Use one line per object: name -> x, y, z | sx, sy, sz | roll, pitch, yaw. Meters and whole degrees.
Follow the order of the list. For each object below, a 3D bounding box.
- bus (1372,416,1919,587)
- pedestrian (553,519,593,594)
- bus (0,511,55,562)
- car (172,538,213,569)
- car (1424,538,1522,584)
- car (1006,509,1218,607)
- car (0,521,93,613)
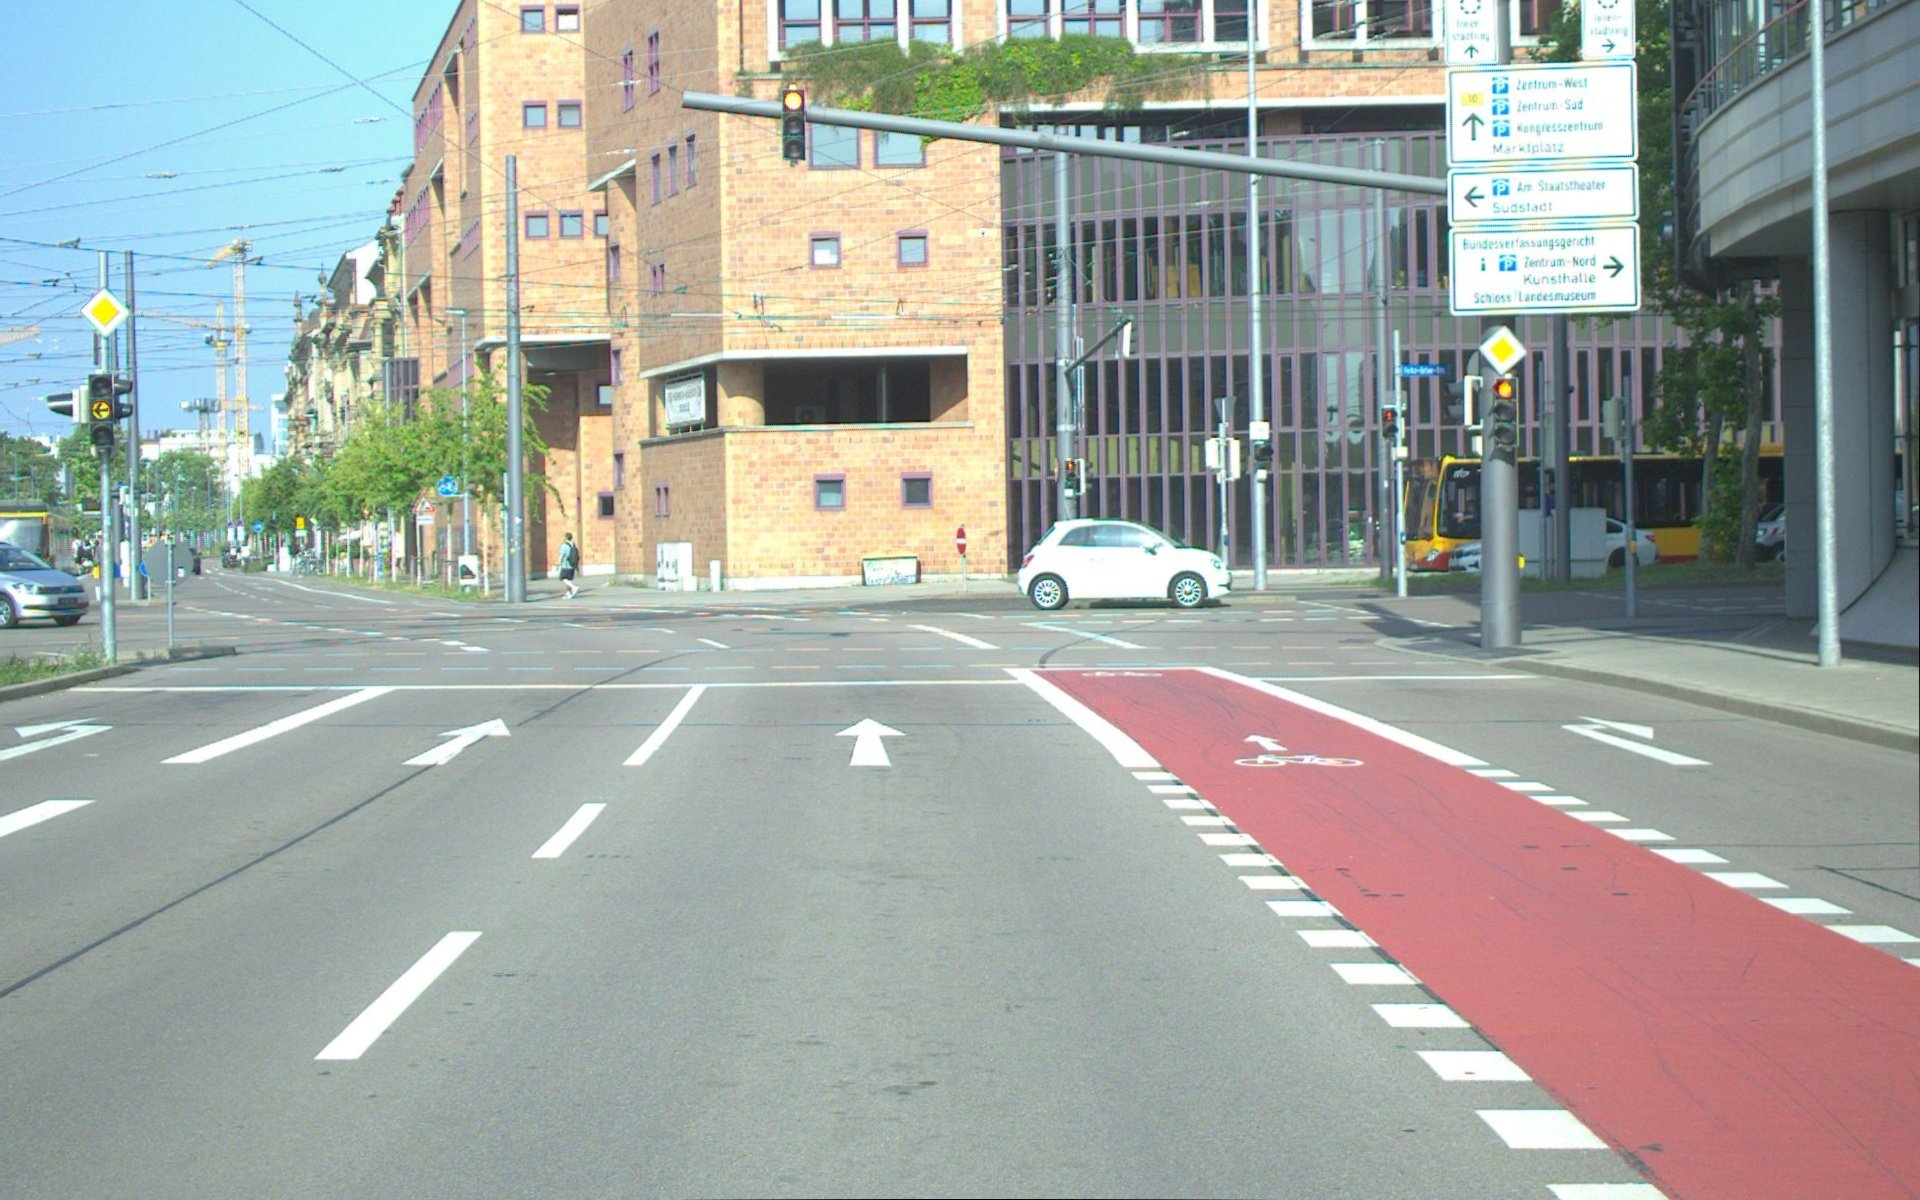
bus -> 18.697, -2.368, 81.922 | 17.605, 3.797, 2.866 | -1, 0, -12
pedestrian -> -10.583, -1.191, 94.024 | 0.841, 2.007, 0.810 | -1, 1, 13
bus -> -37.902, -2.566, 139.132 | 1.993, 2.007, 4.001 | -1, 1, -21
car -> -41.919, -2.535, 187.671 | 2.073, 1.537, 4.415 | -1, 0, -14
car -> 11.381, -0.858, 76.326 | 1.951, 0.955, 1.094 | 1, -1, -4
car -> 2.536, -0.692, 57.132 | 3.437, 1.536, 1.735 | -1, 0, 4
car -> -18.581, -0.633, 64.756 | 4.385, 1.629, 1.687 | 0, 3, 30
